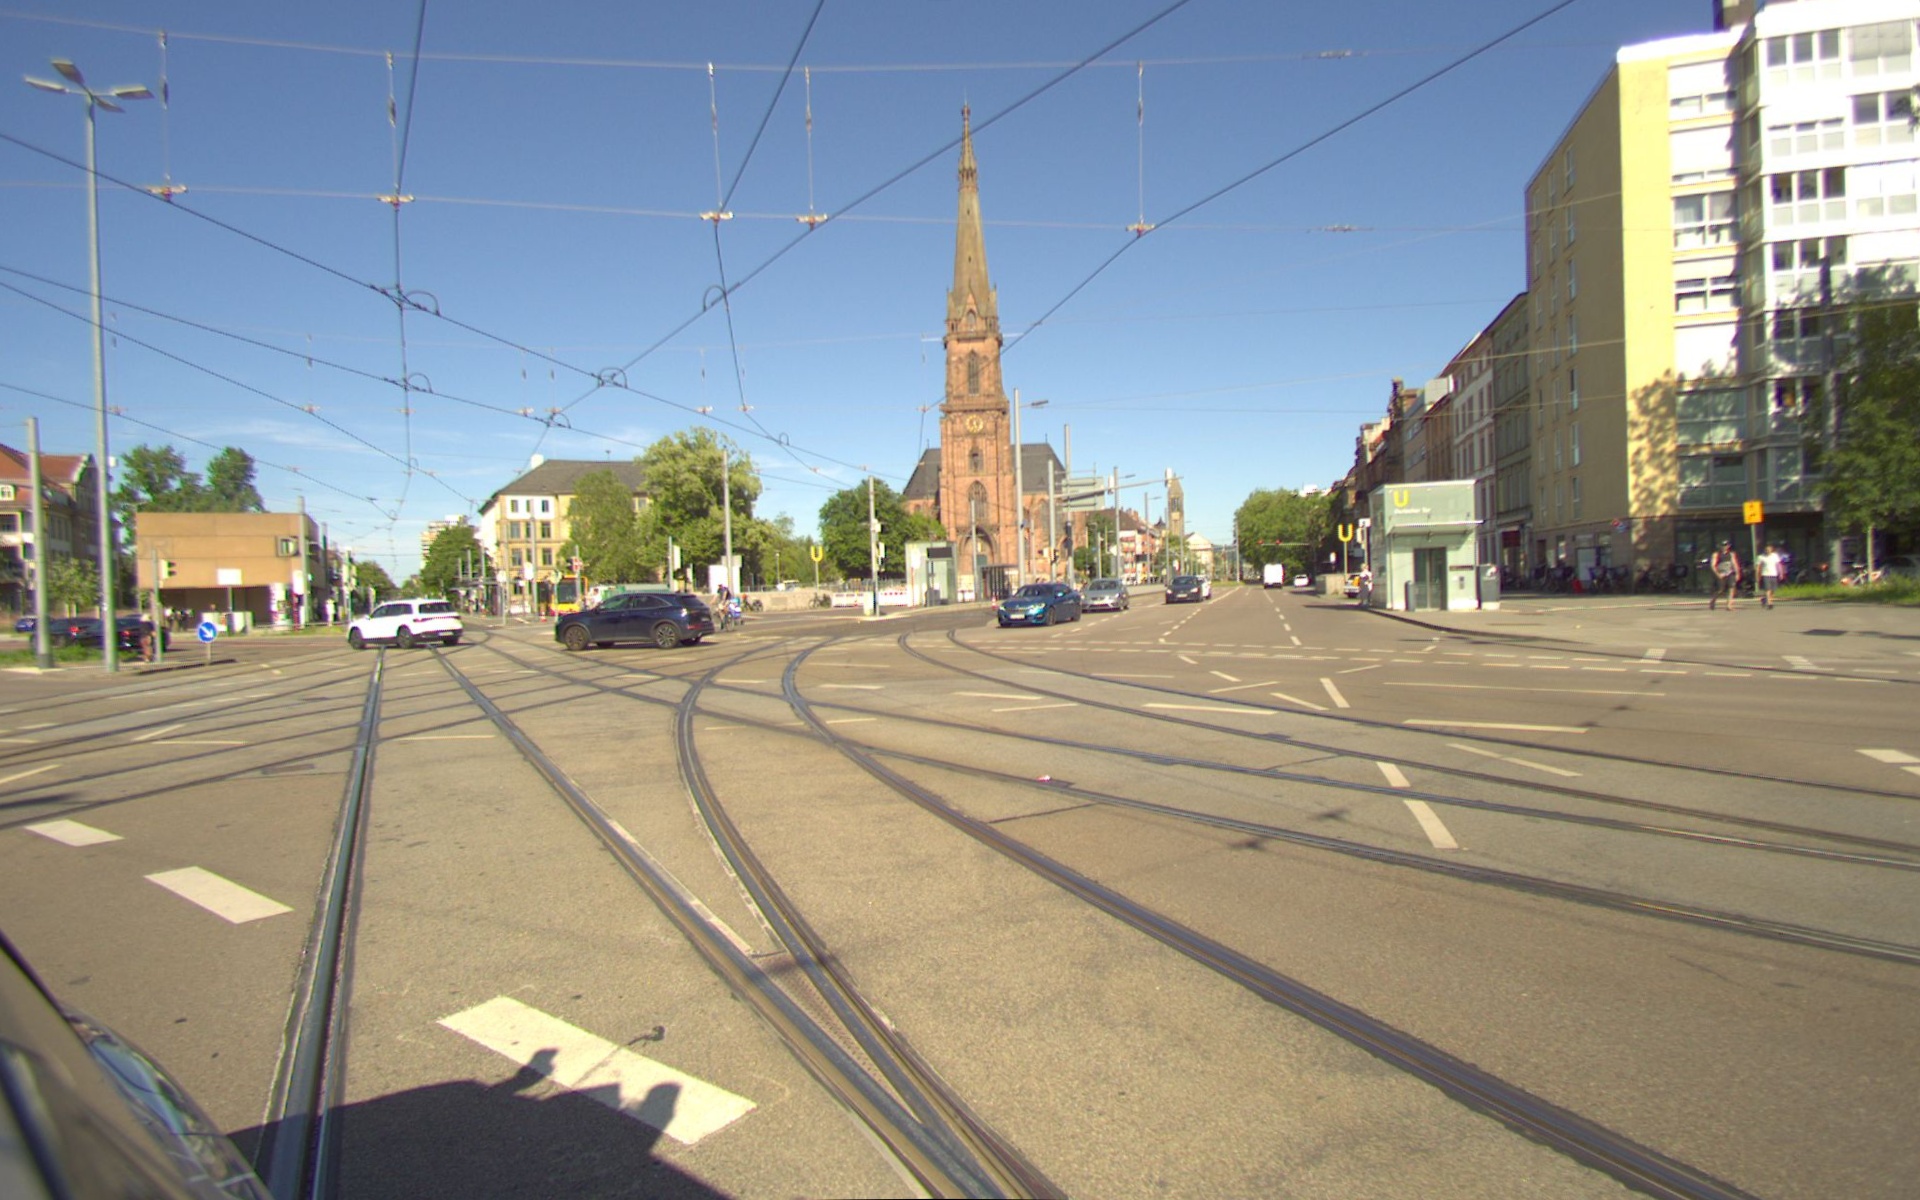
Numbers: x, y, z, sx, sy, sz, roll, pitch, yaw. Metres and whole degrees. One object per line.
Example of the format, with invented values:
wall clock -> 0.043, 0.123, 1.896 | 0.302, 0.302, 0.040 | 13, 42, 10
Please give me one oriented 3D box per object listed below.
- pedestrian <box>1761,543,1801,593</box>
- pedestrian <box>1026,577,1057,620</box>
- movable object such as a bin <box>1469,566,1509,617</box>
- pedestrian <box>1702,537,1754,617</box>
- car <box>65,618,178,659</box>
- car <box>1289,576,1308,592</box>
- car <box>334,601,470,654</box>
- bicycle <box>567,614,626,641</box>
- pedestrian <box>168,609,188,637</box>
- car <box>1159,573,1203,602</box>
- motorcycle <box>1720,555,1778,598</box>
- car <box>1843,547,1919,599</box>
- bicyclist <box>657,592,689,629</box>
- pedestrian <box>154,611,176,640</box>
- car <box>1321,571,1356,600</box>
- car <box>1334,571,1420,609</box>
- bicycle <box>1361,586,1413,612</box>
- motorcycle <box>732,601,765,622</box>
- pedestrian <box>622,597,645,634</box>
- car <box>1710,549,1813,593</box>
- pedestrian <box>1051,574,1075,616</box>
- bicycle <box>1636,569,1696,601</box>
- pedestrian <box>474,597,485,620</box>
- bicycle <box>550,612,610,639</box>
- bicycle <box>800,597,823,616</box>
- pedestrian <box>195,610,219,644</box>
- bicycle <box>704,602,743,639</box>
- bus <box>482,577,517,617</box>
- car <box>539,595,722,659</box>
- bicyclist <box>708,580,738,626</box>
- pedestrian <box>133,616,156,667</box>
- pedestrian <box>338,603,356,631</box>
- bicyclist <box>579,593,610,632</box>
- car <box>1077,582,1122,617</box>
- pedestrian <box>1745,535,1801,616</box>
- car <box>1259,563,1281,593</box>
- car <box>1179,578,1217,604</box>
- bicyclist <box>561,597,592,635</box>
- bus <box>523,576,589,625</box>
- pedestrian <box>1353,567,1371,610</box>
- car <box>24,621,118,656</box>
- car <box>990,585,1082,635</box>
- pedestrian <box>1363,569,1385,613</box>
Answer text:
pedestrian -> 27.465, -1.081, 33.864 | 0.643, 1.633, 0.760 | -3, 2, -3
pedestrian -> 3.777, -0.068, 47.027 | 0.991, 1.917, 0.982 | -2, 2, 36
movable object such as a bin -> 17.746, -0.287, 33.966 | 0.929, 1.646, 0.987 | -3, 2, 15
pedestrian -> 20.275, -0.616, 26.740 | 0.864, 2.044, 0.851 | -2, 2, 22
car -> -33.133, 1.526, 39.977 | 4.459, 1.426, 1.835 | -2, 1, 28
car -> 41.136, -1.958, 122.947 | 1.982, 1.616, 4.100 | -2, 2, 16
car -> -19.316, 0.972, 35.010 | 4.545, 1.653, 1.984 | -2, 1, 29
bicycle -> -14.993, 1.133, 41.810 | 0.614, 0.997, 2.450 | -2, 1, 32
pedestrian -> -49.305, 1.460, 63.821 | 0.634, 1.725, 0.704 | -4, 2, -15
car -> 11.714, -0.681, 53.470 | 1.782, 1.338, 4.573 | -2, 1, 18
motorcycle -> 25.699, -0.778, 32.937 | 1.290, 1.185, 2.929 | -1, 3, 42
car -> 34.923, -1.013, 37.103 | 1.978, 1.820, 3.987 | -3, 1, 11
bicyclist -> -10.707, 0.394, 37.773 | 0.756, 1.332, 0.788 | -2, 1, 27
pedestrian -> -50.441, 1.619, 64.213 | 0.738, 1.725, 0.704 | -4, 2, -15
car -> 24.917, -0.992, 66.724 | 1.984, 1.677, 3.976 | -2, 2, 19
car -> 22.530, -0.581, 54.699 | 3.931, 1.765, 2.007 | -4, 2, -23
bicycle -> 17.476, -0.041, 41.413 | 1.938, 0.928, 0.615 | -2, 2, 26
motorcycle -> -14.586, 0.764, 69.751 | 2.071, 1.263, 0.536 | -4, 2, -30
pedestrian -> -14.894, 0.723, 46.186 | 0.606, 1.619, 0.706 | -2, 2, 35
car -> 30.765, -1.107, 38.978 | 1.728, 1.510, 3.977 | -3, 1, 18
pedestrian -> 4.854, -0.240, 47.759 | 0.981, 1.917, 0.993 | -3, 2, 3
bicycle -> 29.667, -0.627, 42.575 | 1.932, 1.225, 0.615 | -2, 2, 18
pedestrian -> -39.743, 0.712, 83.664 | 0.679, 1.875, 0.732 | -4, 2, -25
bicycle -> -15.910, 1.077, 42.416 | 0.614, 0.997, 2.450 | -2, 1, 32
bicycle -> -10.586, 0.458, 72.092 | 1.476, 1.279, 0.367 | -4, 2, -24
pedestrian -> -43.064, 1.538, 57.904 | 0.844, 1.842, 0.704 | -4, 2, -21
bicycle -> -8.846, 0.748, 37.930 | 0.610, 1.266, 1.956 | -2, 1, 13
bus -> -38.296, -0.215, 84.086 | 2.104, 3.069, 8.586 | -4, 1, -27
car -> -9.454, 0.754, 29.224 | 4.574, 1.588, 2.041 | -2, 1, 7
bicyclist -> -8.885, 0.107, 37.904 | 0.752, 1.688, 0.792 | -2, 1, 13
pedestrian -> -25.506, 1.295, 31.651 | 0.644, 1.567, 0.367 | -1, 3, 43
pedestrian -> -43.389, 1.194, 71.647 | 0.844, 1.894, 0.695 | -4, 2, -21
bicyclist -> -15.073, 0.515, 41.726 | 0.594, 1.561, 0.985 | -2, 1, 33
car -> 6.026, -0.064, 44.225 | 1.775, 1.338, 4.591 | -2, 1, 6
pedestrian -> 21.034, -0.646, 26.203 | 0.864, 2.044, 0.851 | -2, 2, 22
car -> 35.370, -2.525, 115.427 | 1.980, 3.130, 4.902 | -3, 2, 13
car -> 14.331, -0.563, 60.857 | 1.782, 1.338, 4.573 | -2, 1, 18
bicyclist -> -16.017, 0.665, 42.290 | 0.575, 1.540, 0.946 | -2, 2, 32
bus -> -30.573, -0.070, 76.244 | 2.802, 3.144, 11.857 | -4, 4, -30
pedestrian -> 16.885, -0.486, 42.512 | 0.612, 1.717, 0.710 | -2, 2, 27
car -> -42.112, 1.812, 47.916 | 4.625, 1.469, 1.869 | -2, 2, 29
car -> 2.681, 0.284, 34.683 | 1.900, 1.469, 4.569 | -2, 1, 21
pedestrian -> 16.793, -0.374, 41.018 | 0.713, 1.717, 0.610 | -2, 2, 27
